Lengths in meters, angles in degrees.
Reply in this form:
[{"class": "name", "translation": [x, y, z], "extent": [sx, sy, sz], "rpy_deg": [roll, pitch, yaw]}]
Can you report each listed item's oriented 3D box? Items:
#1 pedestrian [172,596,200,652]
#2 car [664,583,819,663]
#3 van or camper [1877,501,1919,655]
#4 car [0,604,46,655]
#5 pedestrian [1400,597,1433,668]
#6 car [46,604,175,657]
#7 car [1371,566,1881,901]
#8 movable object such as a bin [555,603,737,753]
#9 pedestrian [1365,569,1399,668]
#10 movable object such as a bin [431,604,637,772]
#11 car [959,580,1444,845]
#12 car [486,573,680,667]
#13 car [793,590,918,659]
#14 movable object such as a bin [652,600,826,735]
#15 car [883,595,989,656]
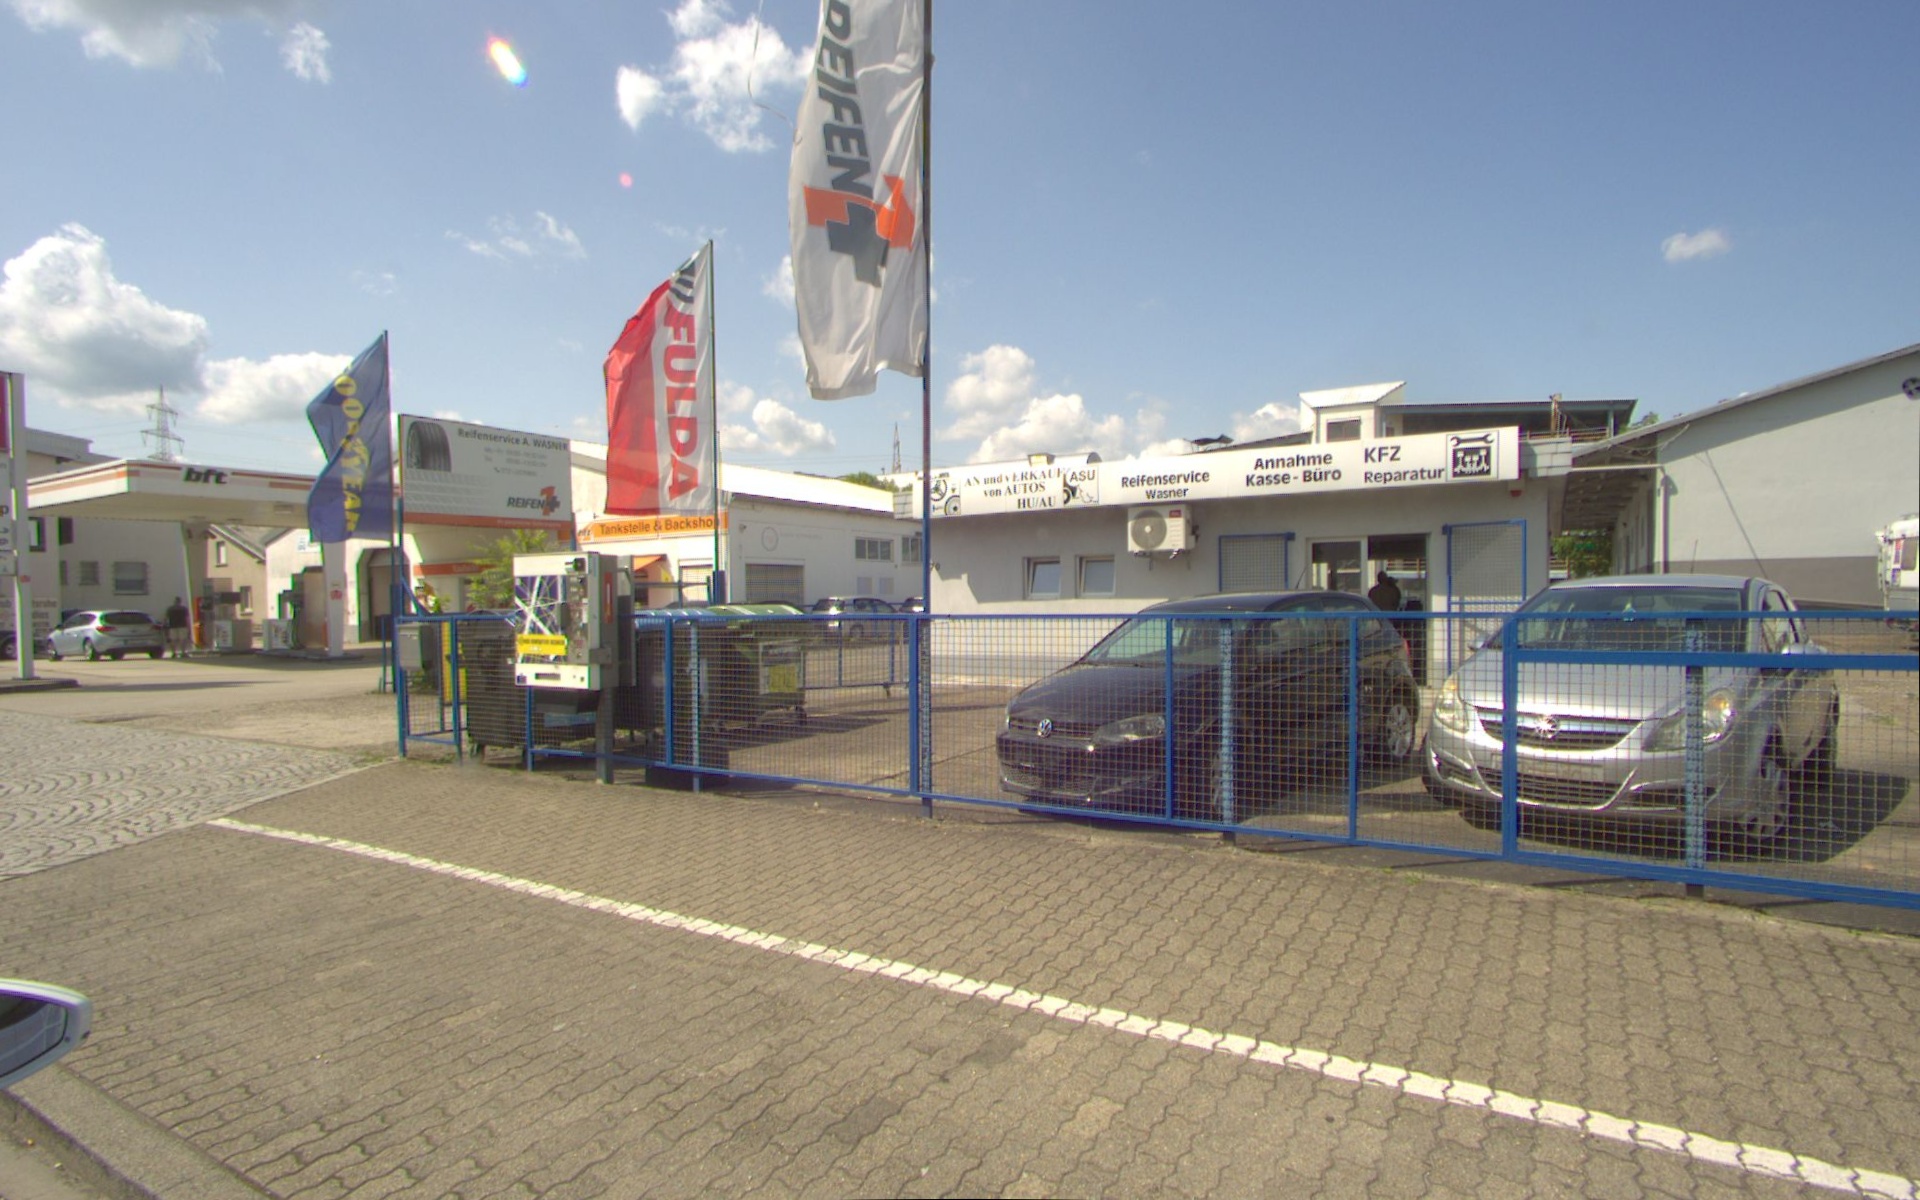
[{"class": "pedestrian", "translation": [-23.736, 0.731, 30.713], "extent": [0.628, 1.705, 0.618], "rpy_deg": [-1, 1, -36]}, {"class": "car", "translation": [-5.944, 0.572, 27.634], "extent": [1.971, 2.040, 3.979], "rpy_deg": [0, 0, 32]}, {"class": "van or camper", "translation": [21.350, -0.461, 19.319], "extent": [4.983, 3.002, 2.276], "rpy_deg": [0, 1, 31]}, {"class": "car", "translation": [-32.483, 0.973, 32.333], "extent": [1.663, 1.646, 4.093], "rpy_deg": [0, 0, 34]}, {"class": "pedestrian", "translation": [7.983, 0.561, 17.523], "extent": [0.480, 1.229, 0.499], "rpy_deg": [0, 1, 30]}, {"class": "car", "translation": [-25.830, 0.891, 30.432], "extent": [3.950, 1.499, 1.829], "rpy_deg": [-1, 1, 31]}, {"class": "car", "translation": [4.506, 0.585, 6.510], "extent": [4.104, 1.499, 1.787], "rpy_deg": [-1, 0, -42]}, {"class": "movable object such as a bin", "translation": [-3.368, 0.774, 10.783], "extent": [1.434, 1.473, 1.224], "rpy_deg": [0, 1, 31]}, {"class": "pedestrian", "translation": [7.416, 0.324, 17.585], "extent": [0.480, 1.710, 0.499], "rpy_deg": [0, 1, 30]}, {"class": "movable object such as a bin", "translation": [-4.128, 0.783, 9.743], "extent": [1.434, 1.473, 1.224], "rpy_deg": [0, 1, 31]}, {"class": "car", "translation": [2.018, 0.625, 7.646], "extent": [3.962, 1.499, 1.705], "rpy_deg": [-1, 1, -43]}, {"class": "car", "translation": [-8.910, 0.436, 23.980], "extent": [1.971, 2.040, 3.979], "rpy_deg": [0, 0, 32]}, {"class": "car", "translation": [-3.261, 0.728, 31.986], "extent": [1.971, 2.040, 3.979], "rpy_deg": [0, 0, 32]}, {"class": "movable object such as a bin", "translation": [-2.602, 0.742, 11.898], "extent": [1.433, 1.473, 1.427], "rpy_deg": [0, 1, 31]}, {"class": "car", "translation": [-0.801, 0.864, 35.875], "extent": [1.971, 2.040, 3.979], "rpy_deg": [0, 0, 32]}]
